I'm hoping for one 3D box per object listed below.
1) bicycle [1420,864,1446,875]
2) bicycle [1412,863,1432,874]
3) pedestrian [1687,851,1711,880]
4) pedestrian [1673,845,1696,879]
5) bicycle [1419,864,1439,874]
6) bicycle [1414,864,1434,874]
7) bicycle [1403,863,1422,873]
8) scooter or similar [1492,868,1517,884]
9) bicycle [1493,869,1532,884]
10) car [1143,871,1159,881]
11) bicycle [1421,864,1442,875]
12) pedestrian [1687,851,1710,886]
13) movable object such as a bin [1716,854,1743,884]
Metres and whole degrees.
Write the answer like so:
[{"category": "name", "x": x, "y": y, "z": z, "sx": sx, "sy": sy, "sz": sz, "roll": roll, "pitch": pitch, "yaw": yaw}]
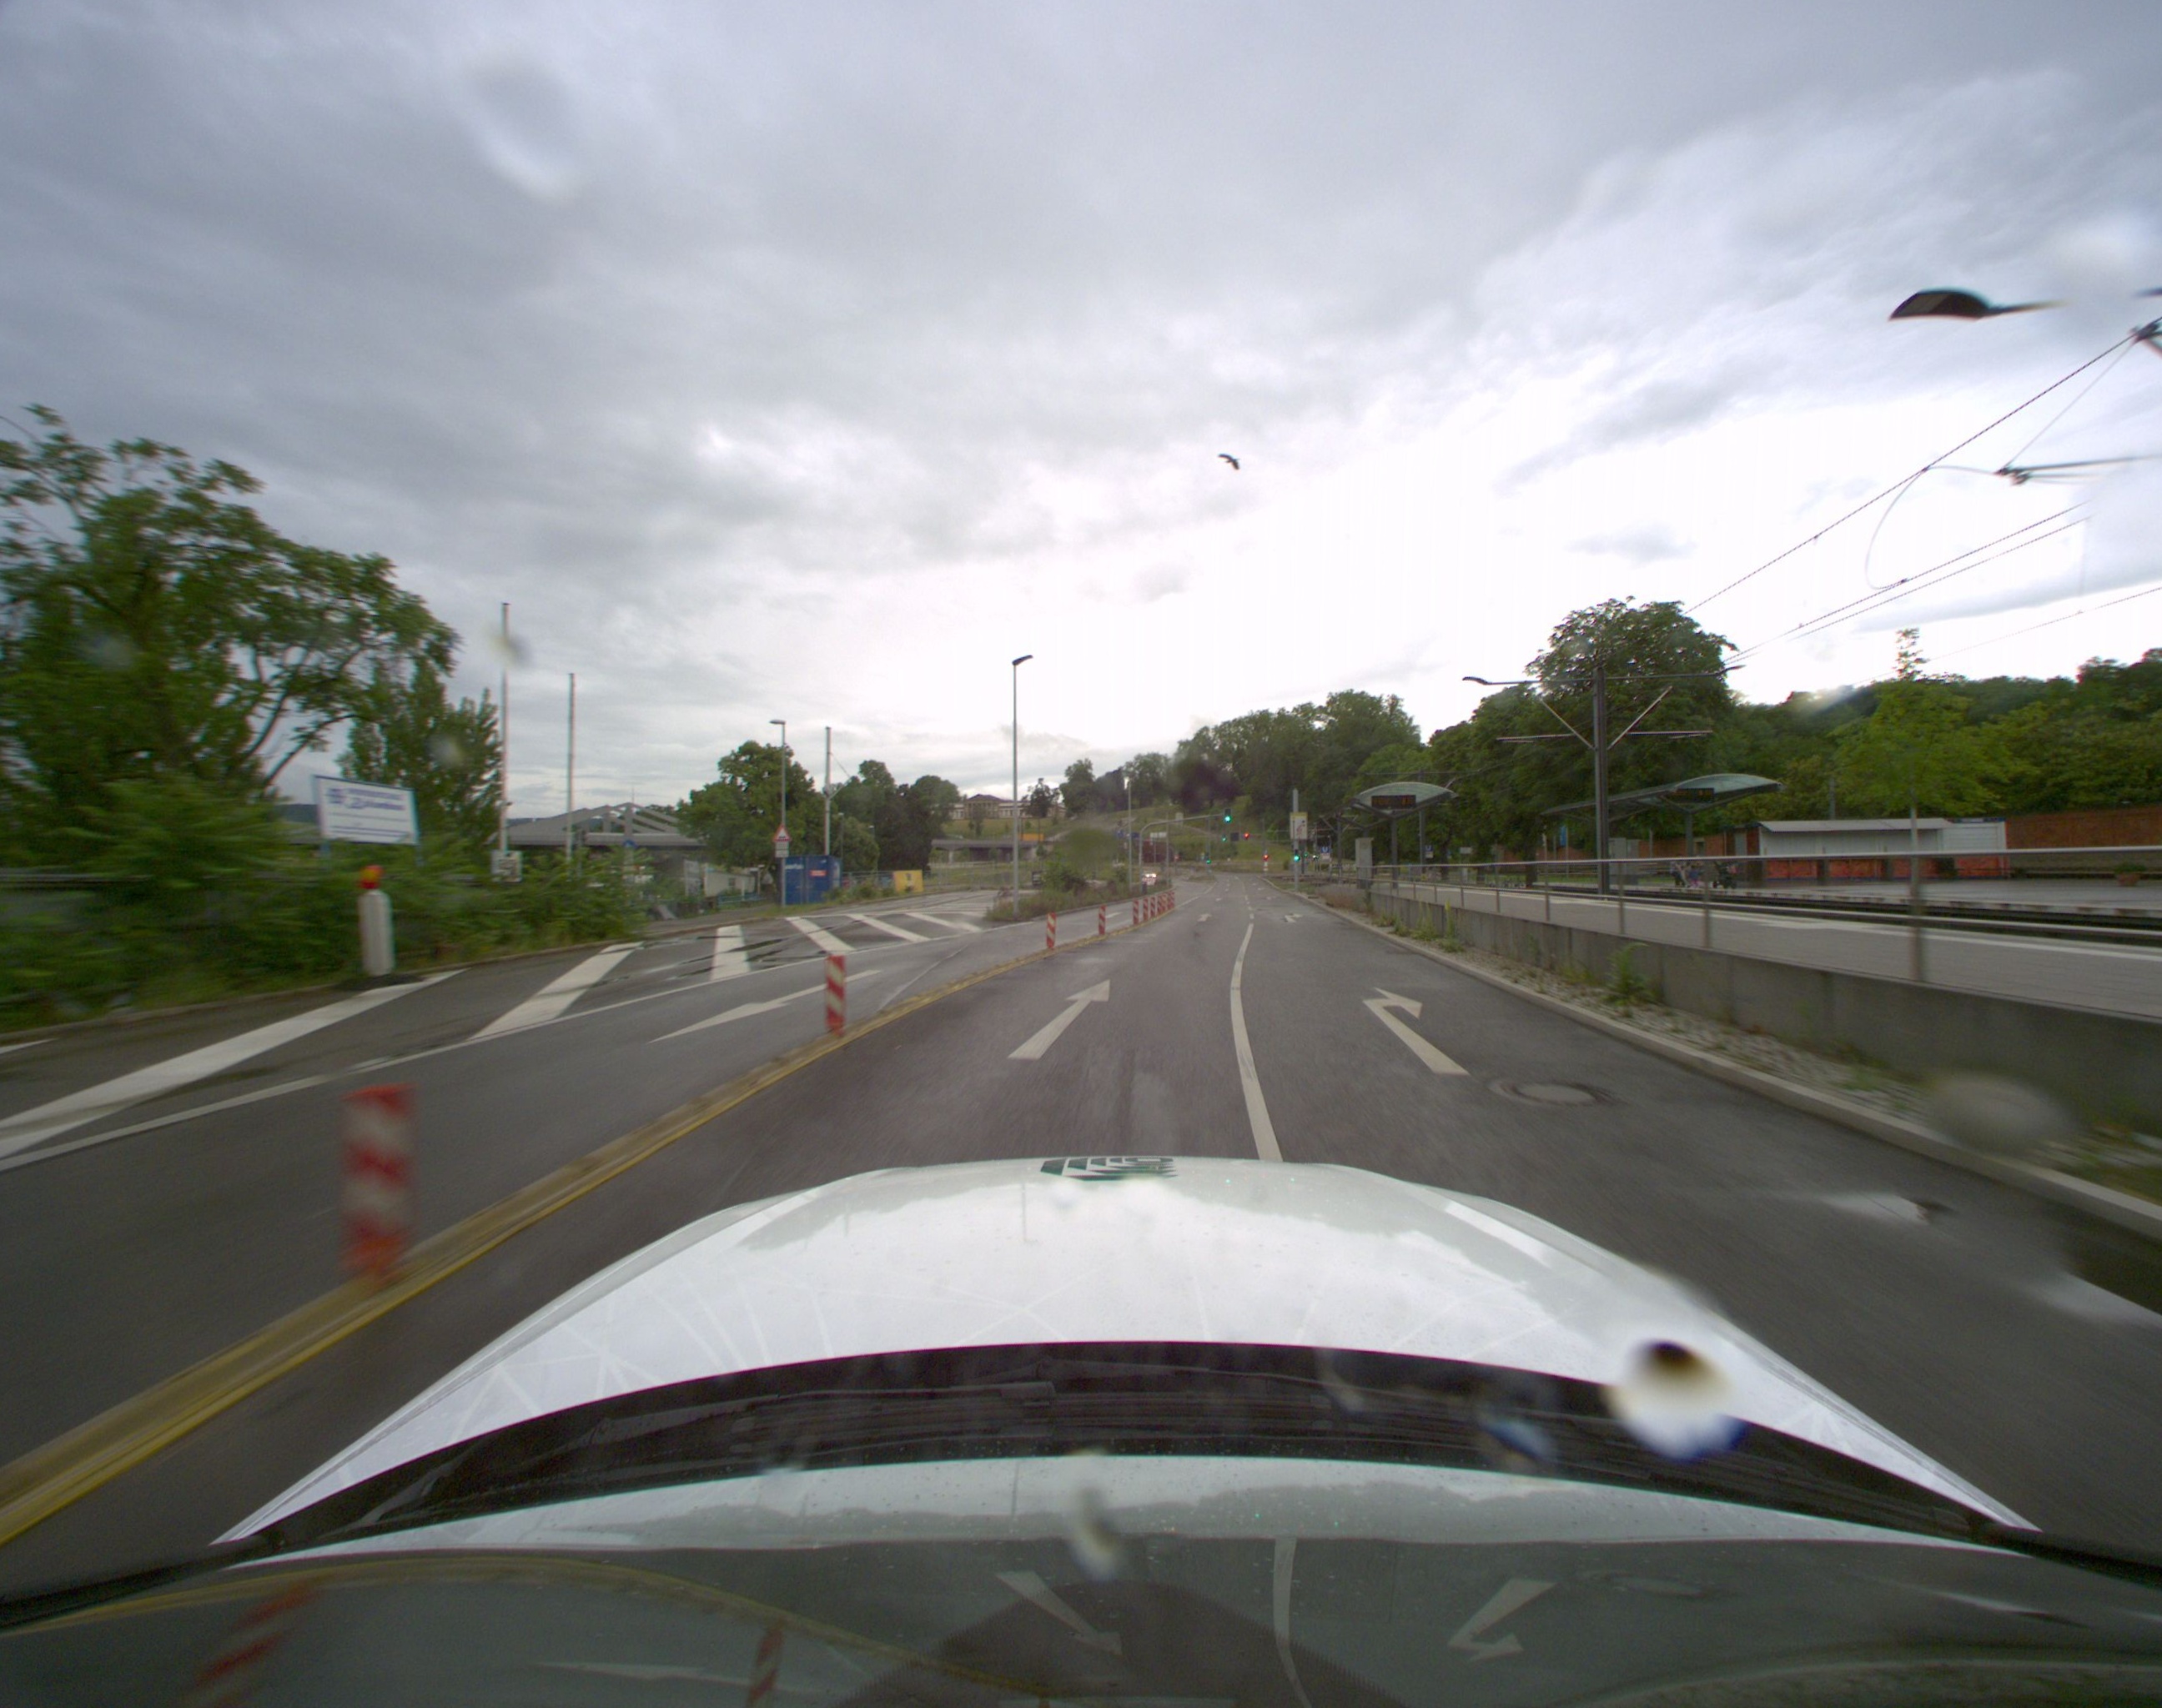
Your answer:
[{"category": "bicycle", "x": 34.958, "y": 1.529, "z": 80.838, "sx": 2.210, "sy": 1.032, "sz": 0.691, "roll": -2, "pitch": -1, "yaw": 8}, {"category": "bicycle", "x": 35.530, "y": 1.534, "z": 84.980, "sx": 1.800, "sy": 1.034, "sz": 0.654, "roll": -2, "pitch": -1, "yaw": 8}, {"category": "pedestrian", "x": 21.670, "y": 0.405, "z": 28.562, "sx": 0.434, "sy": 1.009, "sz": 0.553, "roll": -2, "pitch": -1, "yaw": 12}, {"category": "pedestrian", "x": 21.734, "y": 0.290, "z": 29.341, "sx": 0.434, "sy": 1.226, "sz": 0.553, "roll": -2, "pitch": -1, "yaw": 12}, {"category": "bicycle", "x": 35.293, "y": 1.526, "z": 82.583, "sx": 1.799, "sy": 1.032, "sz": 0.654, "roll": -2, "pitch": -1, "yaw": 8}, {"category": "bicycle", "x": 35.460, "y": 1.537, "z": 84.235, "sx": 1.799, "sy": 1.032, "sz": 0.654, "roll": -2, "pitch": -1, "yaw": 8}, {"category": "bicycle", "x": 36.148, "y": 1.552, "z": 88.753, "sx": 1.799, "sy": 1.032, "sz": 0.654, "roll": -2, "pitch": -1, "yaw": 8}, {"category": "scooter or similar", "x": 31.115, "y": 1.600, "z": 59.869, "sx": 1.534, "sy": 1.137, "sz": 0.432, "roll": -2, "pitch": -1, "yaw": 9}, {"category": "bicycle", "x": 29.874, "y": 1.557, "z": 56.447, "sx": 2.307, "sy": 0.957, "sz": 0.571, "roll": -2, "pitch": -1, "yaw": 9}, {"category": "car", "x": 11.111, "y": 3.509, "z": 129.863, "sx": 1.587, "sy": 1.491, "sz": 3.700, "roll": -2, "pitch": -1, "yaw": -10}, {"category": "bicycle", "x": 35.186, "y": 1.520, "z": 81.778, "sx": 1.799, "sy": 1.032, "sz": 0.654, "roll": -2, "pitch": -1, "yaw": 8}, {"category": "pedestrian", "x": 22.382, "y": 0.517, "z": 29.523, "sx": 0.434, "sy": 1.226, "sz": 0.553, "roll": -2, "pitch": -1, "yaw": 12}, {"category": "movable object such as a bin", "x": 22.525, "y": 0.525, "z": 28.276, "sx": 0.434, "sy": 1.009, "sz": 0.684, "roll": -2, "pitch": -1, "yaw": 12}]
